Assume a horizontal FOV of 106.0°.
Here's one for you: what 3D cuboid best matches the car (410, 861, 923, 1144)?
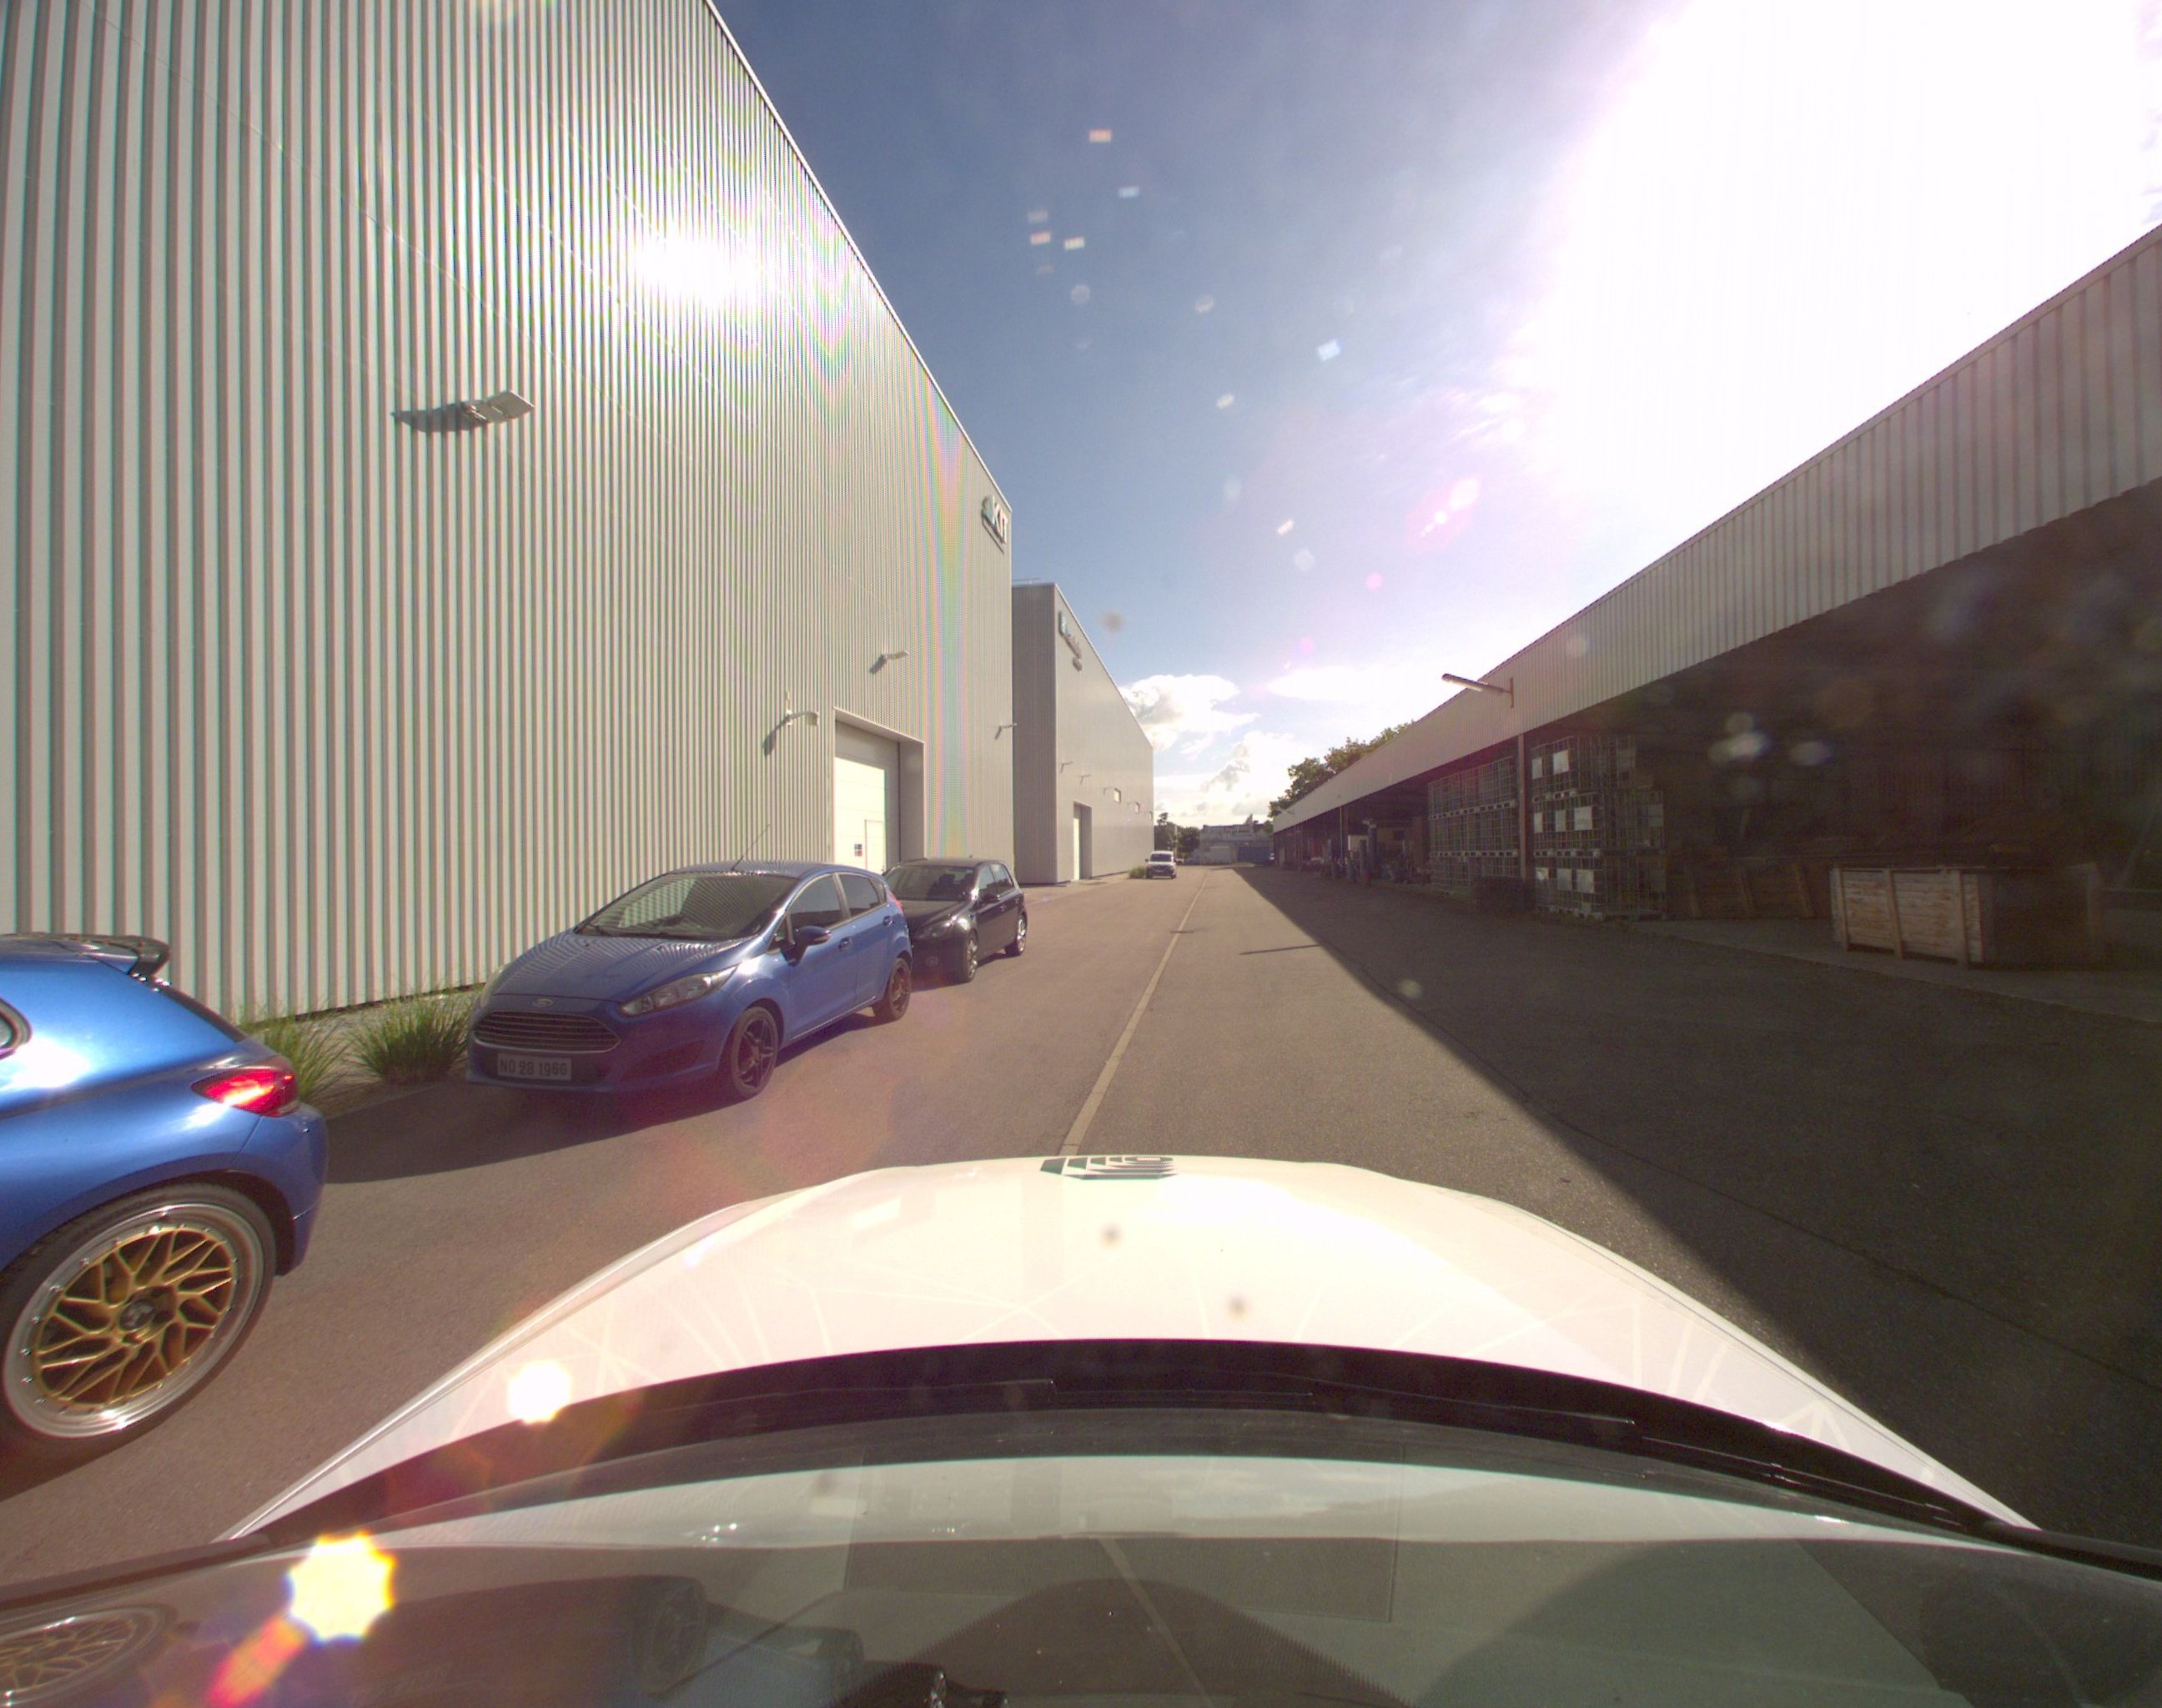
[{"bbox_3d":[-2.610,0.793,6.228,1.610,1.447,3.773,0,0,8],"label":"car"}]

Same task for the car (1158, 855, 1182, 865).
[{"bbox_3d":[14.718,1.008,135.304,3.862,1.462,1.627,-1,0,8],"label":"car"}]

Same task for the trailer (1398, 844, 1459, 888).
[{"bbox_3d":[12.881,0.429,30.294,1.538,1.519,1.916,1,2,5],"label":"trailer"}]

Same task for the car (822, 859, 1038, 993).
[{"bbox_3d":[-1.843,0.820,11.218,1.640,1.446,3.888,2,0,9],"label":"car"}]

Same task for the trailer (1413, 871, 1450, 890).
[{"bbox_3d":[11.698,0.873,27.203,0.966,0.567,0.734,1,2,4],"label":"trailer"}]

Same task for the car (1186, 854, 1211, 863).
[{"bbox_3d":[19.307,0.695,133.554,3.859,1.462,1.628,-1,0,11],"label":"car"}]

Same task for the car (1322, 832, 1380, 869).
[{"bbox_3d":[18.796,-0.230,56.847,3.484,2.441,2.005,-2,-1,9],"label":"car"}]

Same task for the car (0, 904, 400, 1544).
[{"bbox_3d":[-3.393,0.862,0.864,1.659,1.350,3.963,0,0,8],"label":"car"}]

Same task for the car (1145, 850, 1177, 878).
[{"bbox_3d":[5.285,0.638,53.526,1.897,1.794,4.008,-1,0,7],"label":"car"}]

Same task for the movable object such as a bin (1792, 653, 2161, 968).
[{"bbox_3d":[12.347,-0.494,8.580,6.894,2.905,2.693,-2,0,9],"label":"movable object such as a bin"}]

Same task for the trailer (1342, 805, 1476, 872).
[{"bbox_3d":[18.229,-0.824,45.637,6.352,3.370,2.831,-2,-1,8],"label":"trailer"}]
